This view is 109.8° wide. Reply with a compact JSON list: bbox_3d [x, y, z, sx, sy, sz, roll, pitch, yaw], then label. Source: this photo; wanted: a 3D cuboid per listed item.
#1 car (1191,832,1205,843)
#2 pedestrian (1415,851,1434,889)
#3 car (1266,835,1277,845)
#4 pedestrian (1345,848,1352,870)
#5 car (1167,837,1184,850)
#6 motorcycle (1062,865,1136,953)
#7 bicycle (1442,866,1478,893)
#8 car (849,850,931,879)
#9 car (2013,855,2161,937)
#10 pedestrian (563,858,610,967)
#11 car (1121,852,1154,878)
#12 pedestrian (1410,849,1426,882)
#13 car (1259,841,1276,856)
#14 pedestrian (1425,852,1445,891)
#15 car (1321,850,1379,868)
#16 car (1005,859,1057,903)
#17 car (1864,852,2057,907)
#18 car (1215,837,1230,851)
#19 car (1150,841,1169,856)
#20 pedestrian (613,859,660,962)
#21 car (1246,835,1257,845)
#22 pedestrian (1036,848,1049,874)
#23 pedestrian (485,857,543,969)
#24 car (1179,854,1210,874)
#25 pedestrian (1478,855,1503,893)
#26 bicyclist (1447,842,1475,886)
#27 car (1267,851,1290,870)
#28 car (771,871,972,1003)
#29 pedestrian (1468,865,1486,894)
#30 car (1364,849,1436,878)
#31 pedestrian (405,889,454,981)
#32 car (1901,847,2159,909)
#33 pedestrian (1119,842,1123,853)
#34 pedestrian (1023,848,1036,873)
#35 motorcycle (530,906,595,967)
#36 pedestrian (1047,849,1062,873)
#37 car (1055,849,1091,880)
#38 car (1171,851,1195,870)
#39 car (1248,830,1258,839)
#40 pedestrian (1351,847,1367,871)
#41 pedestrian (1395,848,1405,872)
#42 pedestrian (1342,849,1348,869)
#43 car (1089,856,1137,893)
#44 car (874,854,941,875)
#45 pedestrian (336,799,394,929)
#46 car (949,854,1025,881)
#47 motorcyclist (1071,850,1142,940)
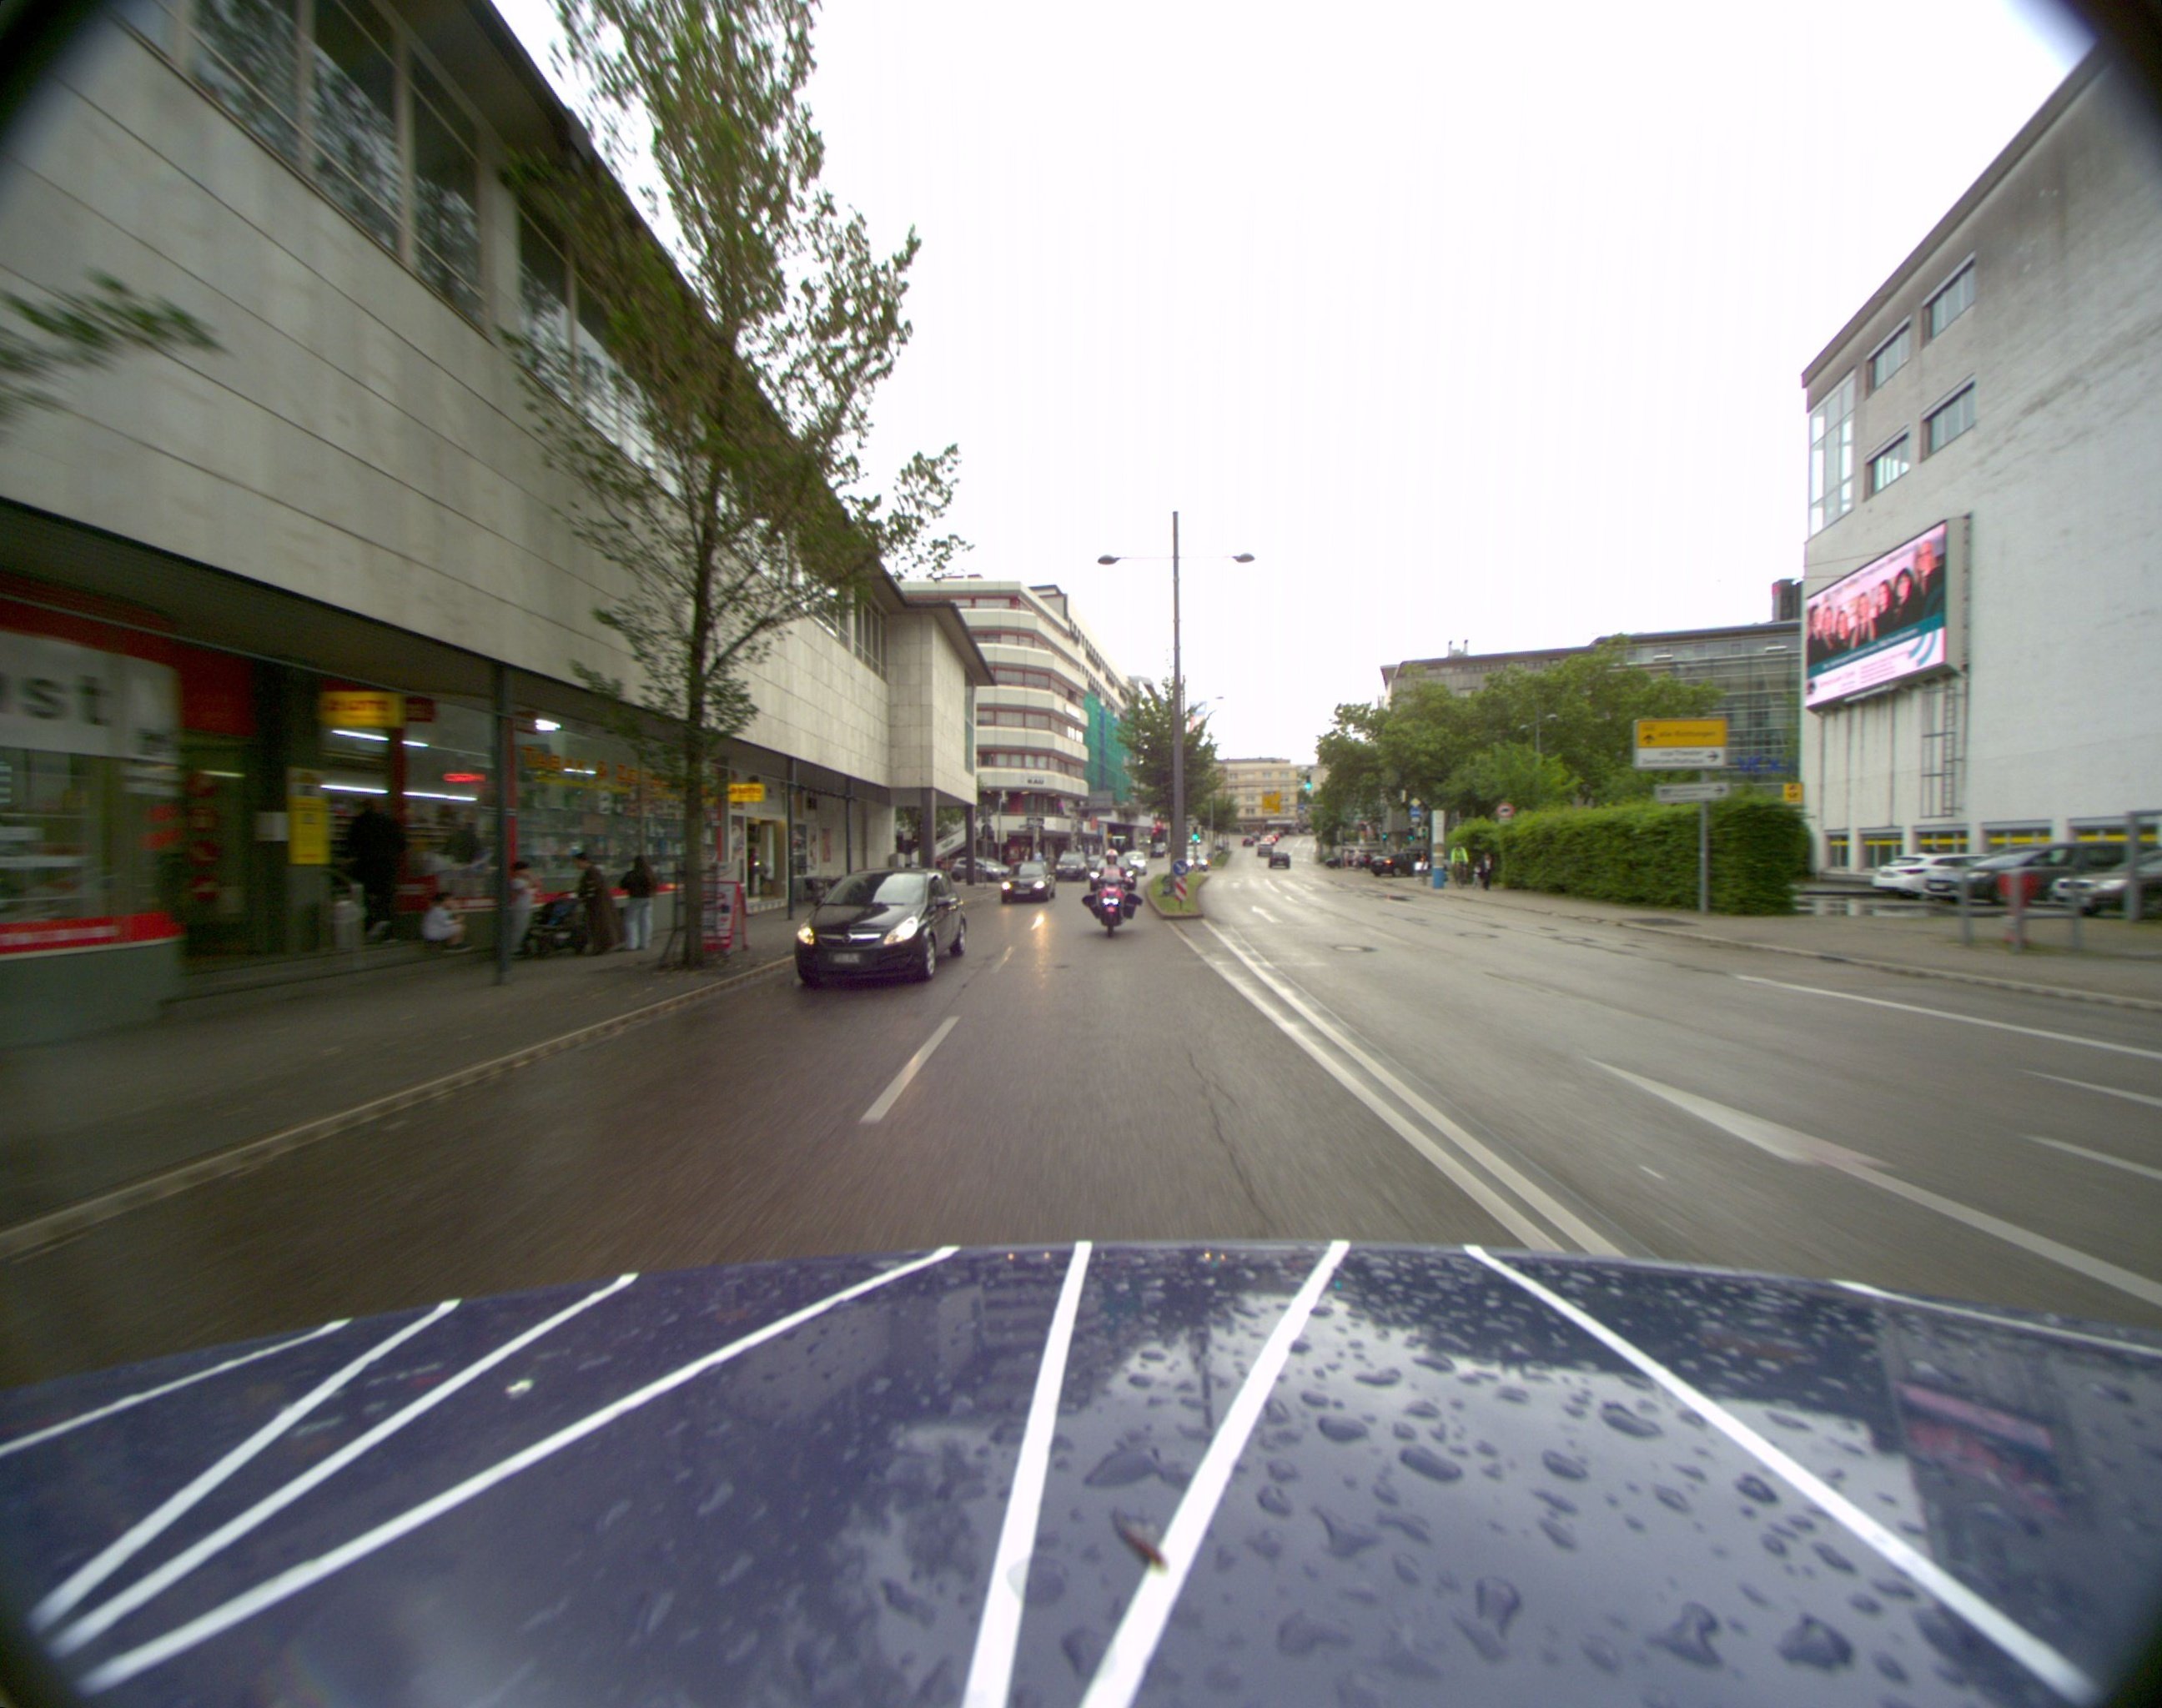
[{"bbox_3d":[19.980,-2.779,129.597,1.830,1.727,4.002,1,4,14],"label":"car"},{"bbox_3d":[16.265,0.761,35.987,0.630,1.754,0.528,0,1,0],"label":"pedestrian"},{"bbox_3d":[31.093,-2.298,123.990,1.674,1.507,3.646,1,2,13],"label":"car"},{"bbox_3d":[22.624,0.414,64.255,0.447,1.827,0.676,0,4,8],"label":"pedestrian"},{"bbox_3d":[13.654,-1.552,109.641,1.830,1.727,4.002,1,4,14],"label":"car"},{"bbox_3d":[0.410,0.971,14.602,0.831,1.479,2.868,1,0,13],"label":"motorcycle"},{"bbox_3d":[16.418,1.087,32.961,0.652,1.104,2.058,0,1,5],"label":"bicycle"},{"bbox_3d":[-11.936,0.647,47.633,4.604,1.750,1.856,0,2,4],"label":"car"},{"bbox_3d":[24.177,0.898,16.839,3.991,1.729,1.957,0,1,20],"label":"car"},{"bbox_3d":[-7.278,0.834,11.192,0.511,1.557,0.429,0,1,-43],"label":"pedestrian"},{"bbox_3d":[3.914,0.737,52.227,1.630,1.731,3.604,0,0,14],"label":"car"},{"bbox_3d":[18.084,0.612,40.805,0.648,1.755,0.592,-1,4,8],"label":"pedestrian"},{"bbox_3d":[23.116,-0.726,94.274,1.830,1.726,4.313,0,2,12],"label":"car"},{"bbox_3d":[15.950,0.775,34.216,0.592,1.754,0.644,0,1,2],"label":"pedestrian"},{"bbox_3d":[24.063,0.426,68.091,1.937,1.388,4.412,-1,3,-44],"label":"car"},{"bbox_3d":[-1.760,0.944,27.589,1.596,1.432,3.627,-1,0,0],"label":"car"},{"bbox_3d":[27.135,0.783,23.576,3.592,1.566,1.602,-2,1,19],"label":"car"},{"bbox_3d":[20.290,-1.454,108.564,1.830,1.727,4.002,1,4,14],"label":"car"},{"bbox_3d":[10.091,-0.710,97.756,1.830,1.727,4.002,1,4,14],"label":"car"},{"bbox_3d":[-6.932,0.861,11.858,0.429,1.557,0.511,1,1,37],"label":"pedestrian"},{"bbox_3d":[26.638,-2.179,118.633,1.625,1.547,3.662,0,1,11],"label":"car"},{"bbox_3d":[-2.771,0.502,54.856,0.623,1.837,0.848,0,3,19],"label":"pedestrian"},{"bbox_3d":[-8.094,0.821,10.858,0.430,1.557,0.510,0,1,5],"label":"pedestrian"},{"bbox_3d":[8.764,0.766,58.963,1.700,1.466,3.689,0,0,-2],"label":"car"},{"bbox_3d":[16.571,0.807,30.727,0.716,1.550,0.565,0,0,4],"label":"pedestrian"},{"bbox_3d":[16.413,0.425,32.833,0.793,1.879,0.954,0,1,3],"label":"bicyclist"},{"bbox_3d":[17.372,0.550,66.953,1.760,1.412,4.100,2,2,12],"label":"car"},{"bbox_3d":[-2.748,1.023,10.859,1.712,1.448,3.742,-1,0,2],"label":"car"},{"bbox_3d":[15.962,1.021,30.636,0.469,1.144,0.502,0,0,4],"label":"pedestrian"},{"bbox_3d":[20.234,0.626,48.162,4.265,1.726,1.829,1,1,-27],"label":"car"},{"bbox_3d":[-8.491,1.040,9.922,0.431,1.129,0.508,0,1,-34],"label":"pedestrian"},{"bbox_3d":[26.192,0.651,21.198,4.053,1.566,1.957,-2,1,22],"label":"car"},{"bbox_3d":[5.515,-0.851,104.729,0.429,1.481,0.523,-1,4,-12],"label":"pedestrian"},{"bbox_3d":[-3.693,0.482,54.701,0.623,1.764,0.678,0,3,19],"label":"pedestrian"},{"bbox_3d":[-7.617,1.194,11.189,0.325,0.799,0.920,1,0,1],"label":"motorcycle"},{"bbox_3d":[-2.127,0.557,60.685,0.897,1.770,0.806,5,5,16],"label":"pedestrian"},{"bbox_3d":[-0.409,0.559,45.041,1.735,1.669,4.249,-2,1,4],"label":"car"},{"bbox_3d":[8.763,0.535,65.273,1.768,1.401,4.002,-2,2,11],"label":"car"},{"bbox_3d":[30.918,-3.532,136.722,1.716,1.470,3.960,2,2,12],"label":"car"},{"bbox_3d":[22.877,0.405,62.519,0.861,1.895,0.826,-2,1,-11],"label":"pedestrian"},{"bbox_3d":[23.895,0.411,56.937,0.527,1.754,0.593,-3,2,11],"label":"pedestrian"},{"bbox_3d":[22.665,0.414,65.328,0.412,1.753,0.677,0,0,11],"label":"pedestrian"},{"bbox_3d":[1.512,0.879,34.408,1.937,1.511,4.470,-1,0,5],"label":"car"},{"bbox_3d":[-12.231,0.742,53.704,4.270,1.412,1.787,0,1,0],"label":"car"},{"bbox_3d":[-8.834,0.119,9.379,0.511,1.557,0.429,0,1,-43],"label":"pedestrian"},{"bbox_3d":[-5.485,0.771,44.228,3.989,1.468,2.003,-1,2,32],"label":"car"},{"bbox_3d":[0.530,0.810,15.461,1.294,1.757,0.846,0,1,13],"label":"motorcyclist"}]
